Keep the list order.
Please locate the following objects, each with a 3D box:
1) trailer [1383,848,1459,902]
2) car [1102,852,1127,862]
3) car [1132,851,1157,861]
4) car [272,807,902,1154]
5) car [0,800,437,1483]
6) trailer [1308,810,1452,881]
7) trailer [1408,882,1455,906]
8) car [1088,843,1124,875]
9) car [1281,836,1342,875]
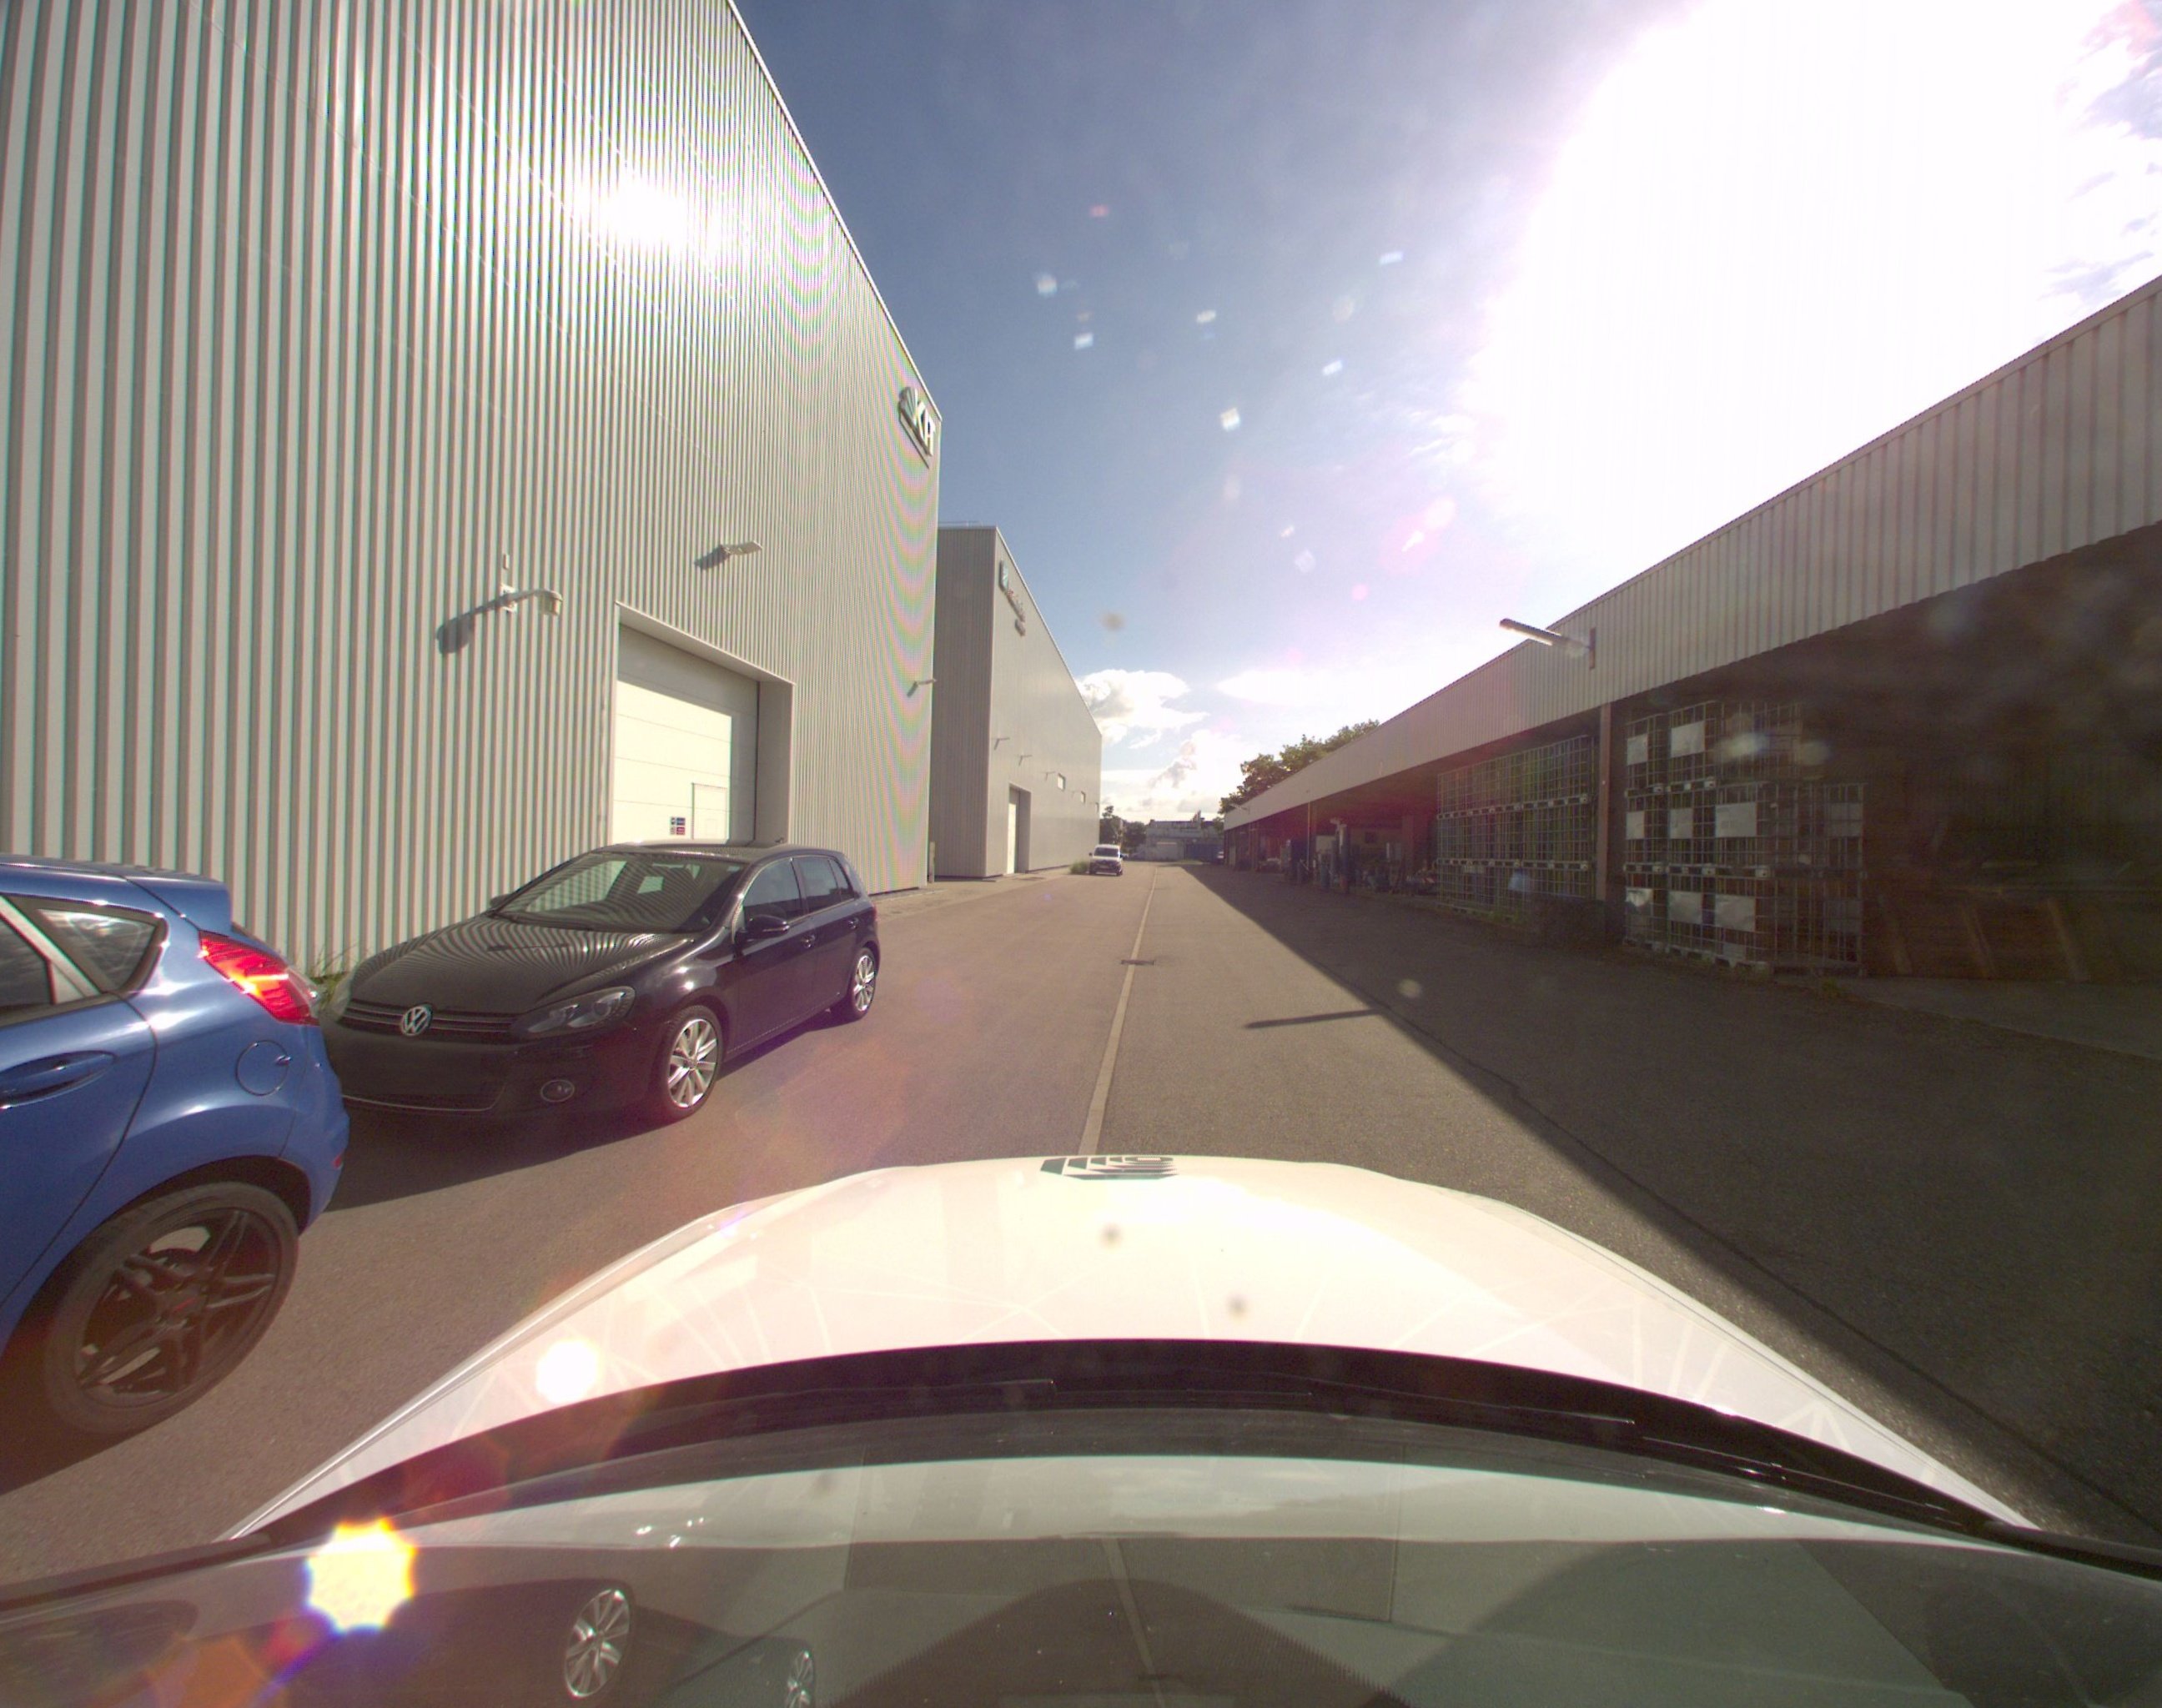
[{"bbox_3d":[10.690,0.634,25.714,1.540,1.518,1.914,4,2,1],"label":"trailer"},{"bbox_3d":[5.356,0.426,130.295,3.867,1.462,1.625,2,0,4],"label":"car"},{"bbox_3d":[10.084,0.370,129.050,3.863,1.462,1.626,2,0,7],"label":"car"},{"bbox_3d":[-2.737,0.578,5.698,1.642,1.446,3.884,5,0,6],"label":"car"},{"bbox_3d":[-3.144,0.583,0.904,1.612,1.447,3.769,3,0,4],"label":"car"},{"bbox_3d":[15.047,-0.413,41.366,6.359,3.370,2.828,1,0,4],"label":"trailer"},{"bbox_3d":[9.693,1.102,22.556,0.967,0.567,0.733,4,2,1],"label":"trailer"},{"bbox_3d":[1.524,0.293,48.344,1.900,1.794,4.004,2,0,4],"label":"car"},{"bbox_3d":[14.822,0.108,52.578,3.487,2.441,2.003,1,0,5],"label":"car"}]
